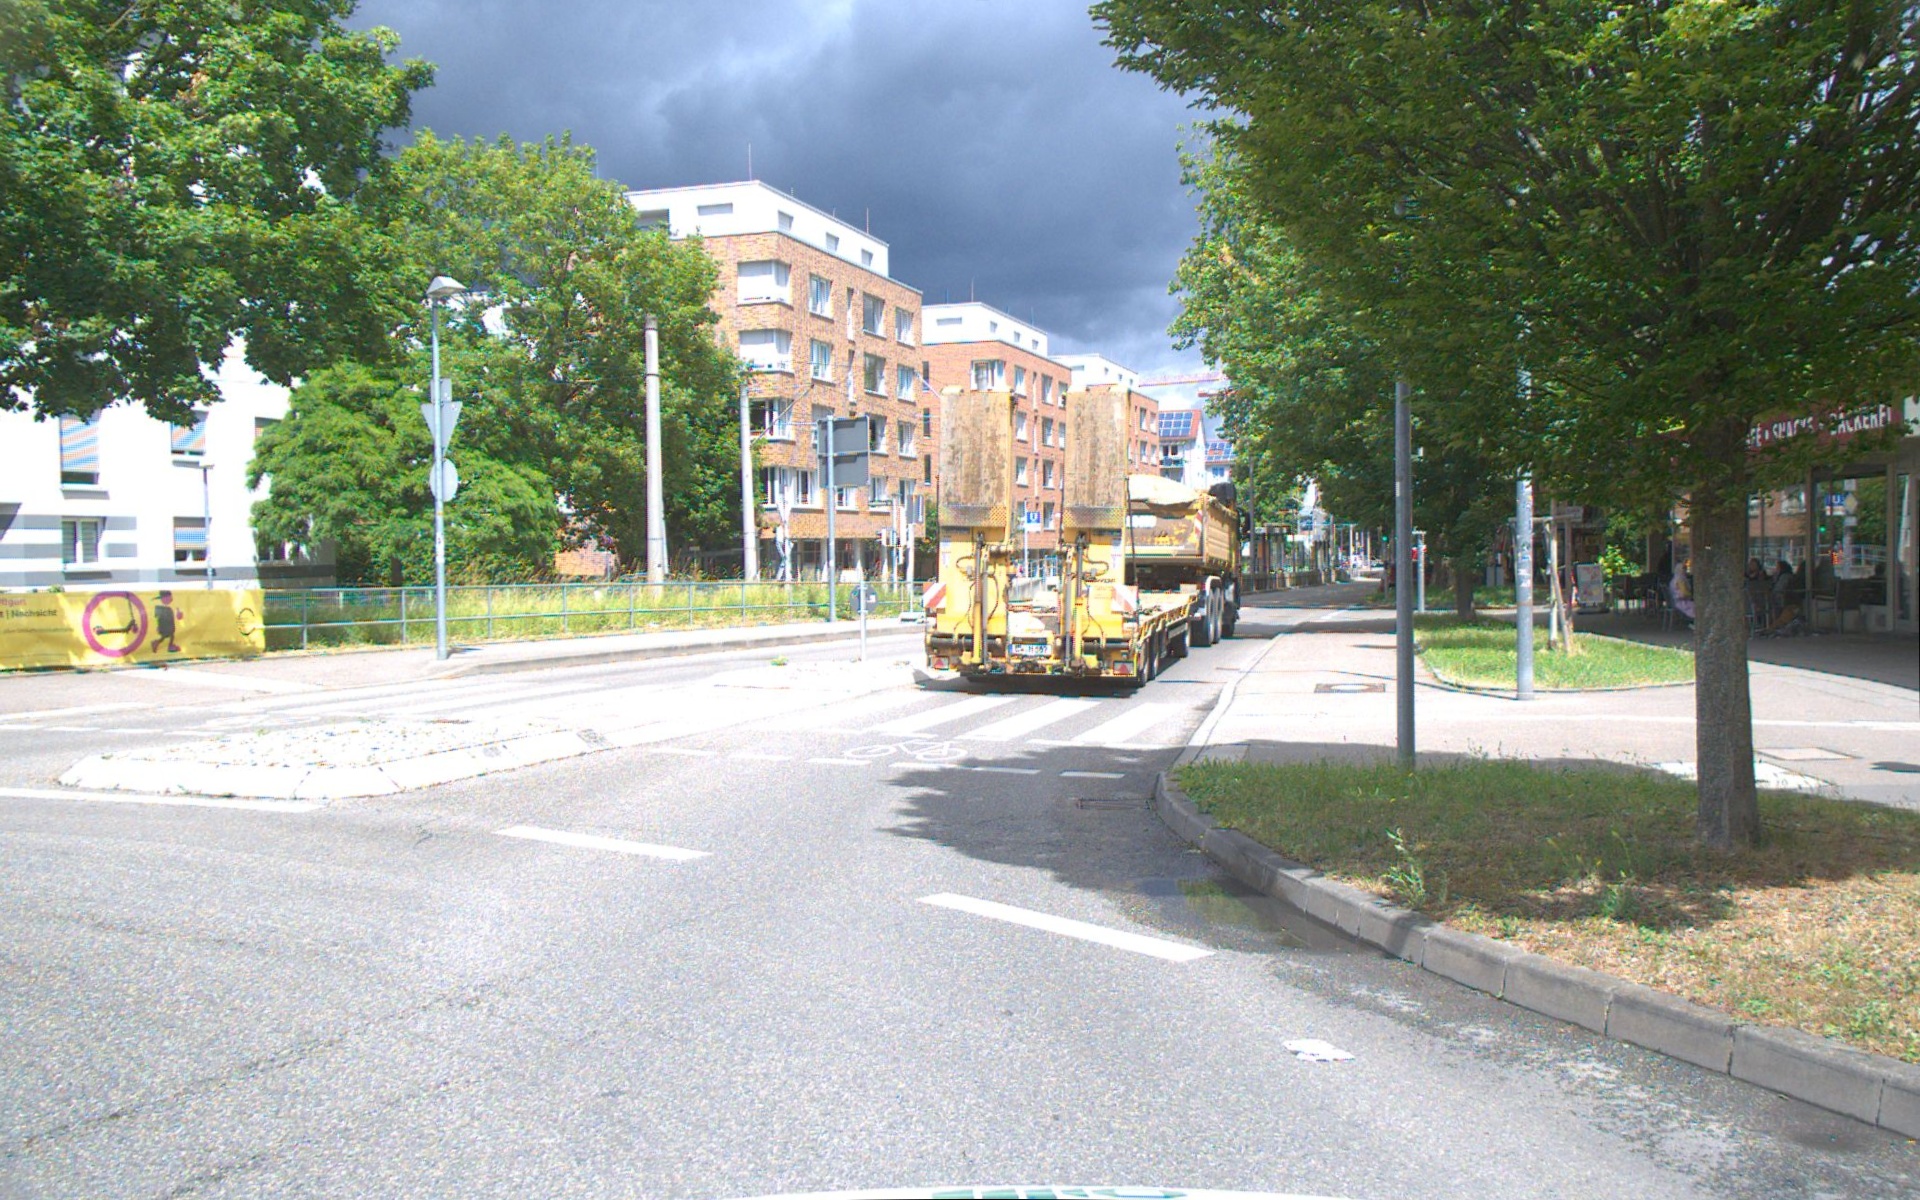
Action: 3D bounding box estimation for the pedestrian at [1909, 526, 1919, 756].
[{"bbox_3d":[6.812,0.277,10.819,0.853,1.546,0.804,0,0,14],"label":"pedestrian"}]

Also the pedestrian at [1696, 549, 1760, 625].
[{"bbox_3d":[14.299,-0.247,30.812,0.859,1.347,0.824,-1,3,7],"label":"pedestrian"}]

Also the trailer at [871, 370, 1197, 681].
[{"bbox_3d":[1.560,-0.914,23.990,2.802,3.431,10.851,-1,1,13],"label":"trailer"}]

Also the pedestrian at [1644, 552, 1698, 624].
[{"bbox_3d":[13.673,-0.233,31.834,0.859,1.348,0.611,-1,1,15],"label":"pedestrian"}]

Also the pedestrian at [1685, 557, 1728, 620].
[{"bbox_3d":[14.628,-0.227,32.410,0.703,1.222,0.699,-1,1,21],"label":"pedestrian"}]

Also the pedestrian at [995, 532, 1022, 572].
[{"bbox_3d":[2.552,-2.515,86.647,1.114,2.049,0.998,-1,1,23],"label":"pedestrian"}]

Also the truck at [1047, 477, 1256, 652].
[{"bbox_3d":[4.119,-0.856,33.574,2.924,3.087,8.494,0,3,16],"label":"truck"}]

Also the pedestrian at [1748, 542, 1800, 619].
[{"bbox_3d":[15.134,-0.367,30.759,0.702,1.404,0.699,-1,1,14],"label":"pedestrian"}]

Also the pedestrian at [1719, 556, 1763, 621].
[{"bbox_3d":[15.154,-0.226,32.109,0.703,1.222,0.699,-1,1,21],"label":"pedestrian"}]

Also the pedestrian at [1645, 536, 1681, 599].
[{"bbox_3d":[17.356,-0.797,40.838,0.682,1.514,0.558,-1,1,11],"label":"pedestrian"}]

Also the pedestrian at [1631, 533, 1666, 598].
[{"bbox_3d":[17.246,-0.858,41.422,0.682,1.600,0.558,-1,1,11],"label":"pedestrian"}]

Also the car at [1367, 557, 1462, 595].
[{"bbox_3d":[19.966,-1.054,72.608,3.904,1.537,2.002,0,4,19],"label":"car"}]

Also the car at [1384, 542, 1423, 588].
[{"bbox_3d":[29.226,-2.342,108.925,1.952,2.876,5.117,3,3,19],"label":"car"}]
